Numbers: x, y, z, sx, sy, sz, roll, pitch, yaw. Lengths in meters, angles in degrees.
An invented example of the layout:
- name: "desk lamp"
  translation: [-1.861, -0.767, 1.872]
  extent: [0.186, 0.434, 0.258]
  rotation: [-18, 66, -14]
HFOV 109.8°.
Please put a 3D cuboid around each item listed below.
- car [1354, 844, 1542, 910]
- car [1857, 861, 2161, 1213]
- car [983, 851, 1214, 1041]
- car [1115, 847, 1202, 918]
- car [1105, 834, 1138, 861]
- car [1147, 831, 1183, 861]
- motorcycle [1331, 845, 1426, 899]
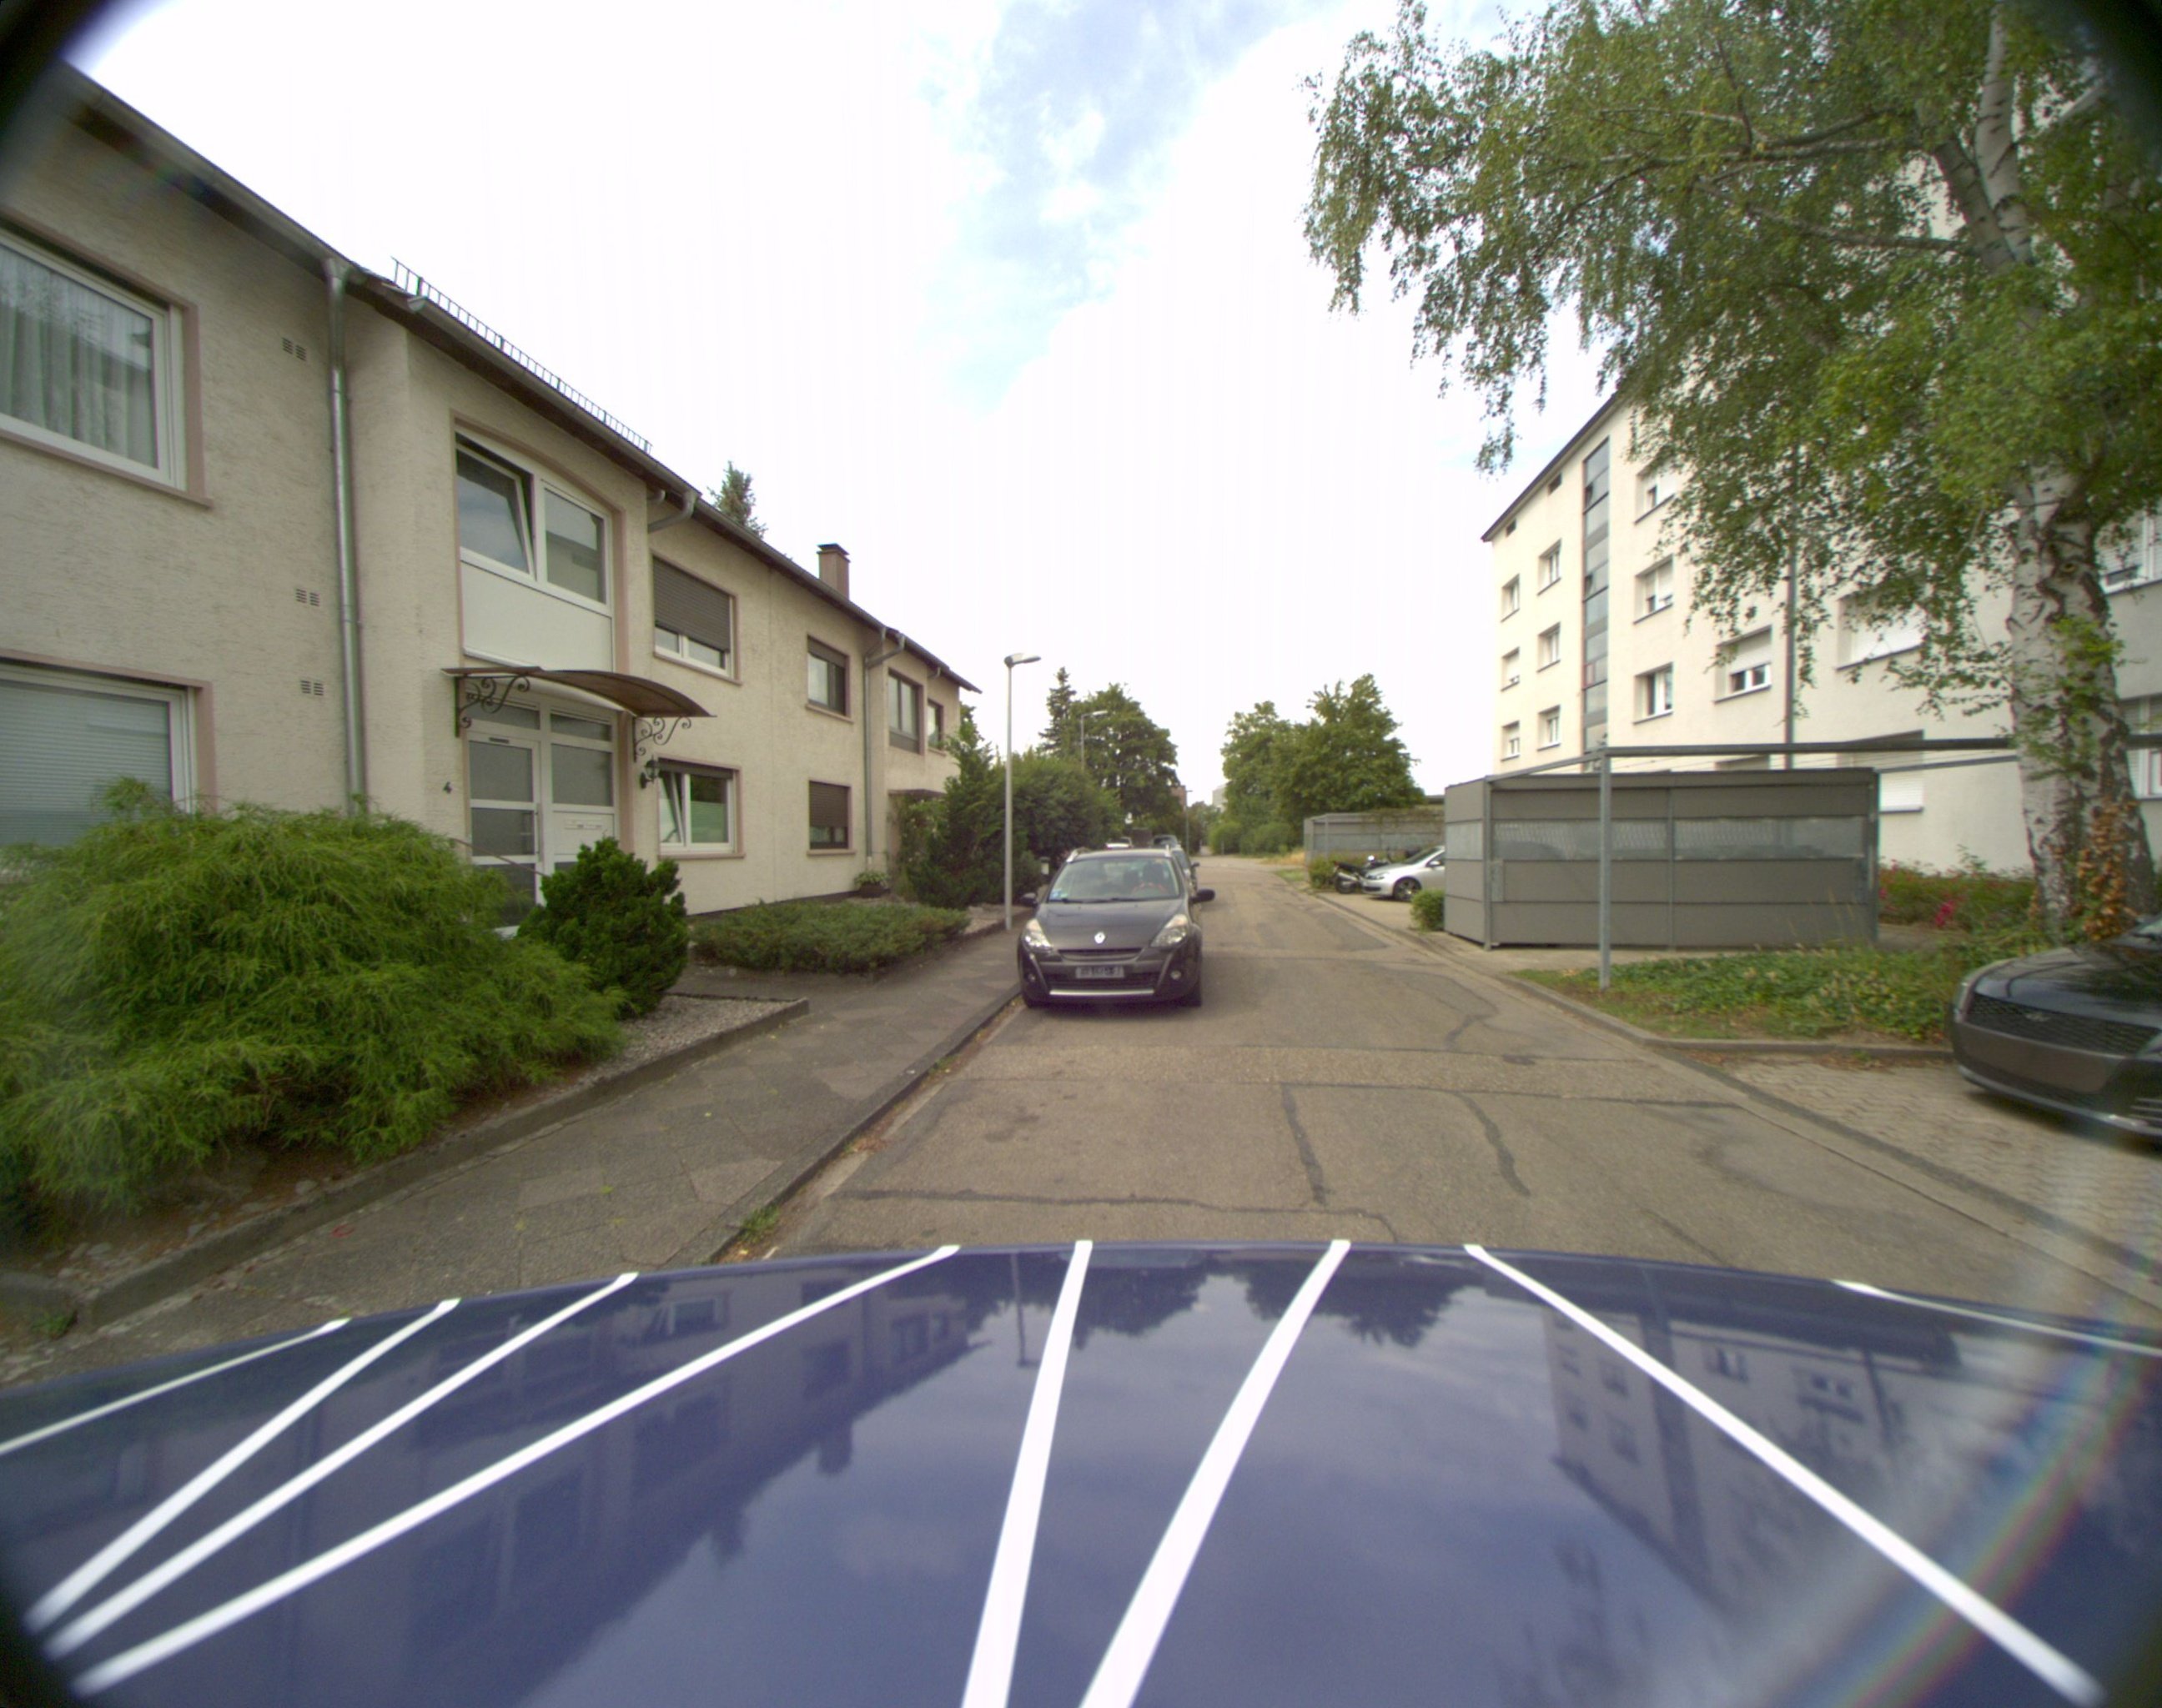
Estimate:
- name: "car"
  translation: [9.433, 0.547, 19.861]
  extent: [3.993, 1.478, 1.904]
  rotation: [2, 2, 10]
- name: "car"
  translation: [6.855, 0.819, 3.679]
  extent: [4.059, 1.496, 1.782]
  rotation: [0, 2, 8]
- name: "car"
  translation: [0.369, 0.747, 8.206]
  extent: [1.833, 1.449, 4.191]
  rotation: [-2, 1, 7]
- name: "car"
  translation: [1.910, 0.601, 18.460]
  extent: [1.833, 1.449, 4.191]
  rotation: [-2, 1, 7]
- name: "car"
  translation: [2.447, -0.422, 44.684]
  extent: [1.704, 1.458, 4.000]
  rotation: [0, 3, 6]
- name: "car"
  translation: [4.857, -0.505, 43.862]
  extent: [1.925, 1.576, 4.001]
  rotation: [-2, 1, 6]
- name: "motorcycle"
  translation: [8.458, 0.500, 21.697]
  extent: [2.381, 1.456, 0.714]
  rotation: [1, 2, 8]
